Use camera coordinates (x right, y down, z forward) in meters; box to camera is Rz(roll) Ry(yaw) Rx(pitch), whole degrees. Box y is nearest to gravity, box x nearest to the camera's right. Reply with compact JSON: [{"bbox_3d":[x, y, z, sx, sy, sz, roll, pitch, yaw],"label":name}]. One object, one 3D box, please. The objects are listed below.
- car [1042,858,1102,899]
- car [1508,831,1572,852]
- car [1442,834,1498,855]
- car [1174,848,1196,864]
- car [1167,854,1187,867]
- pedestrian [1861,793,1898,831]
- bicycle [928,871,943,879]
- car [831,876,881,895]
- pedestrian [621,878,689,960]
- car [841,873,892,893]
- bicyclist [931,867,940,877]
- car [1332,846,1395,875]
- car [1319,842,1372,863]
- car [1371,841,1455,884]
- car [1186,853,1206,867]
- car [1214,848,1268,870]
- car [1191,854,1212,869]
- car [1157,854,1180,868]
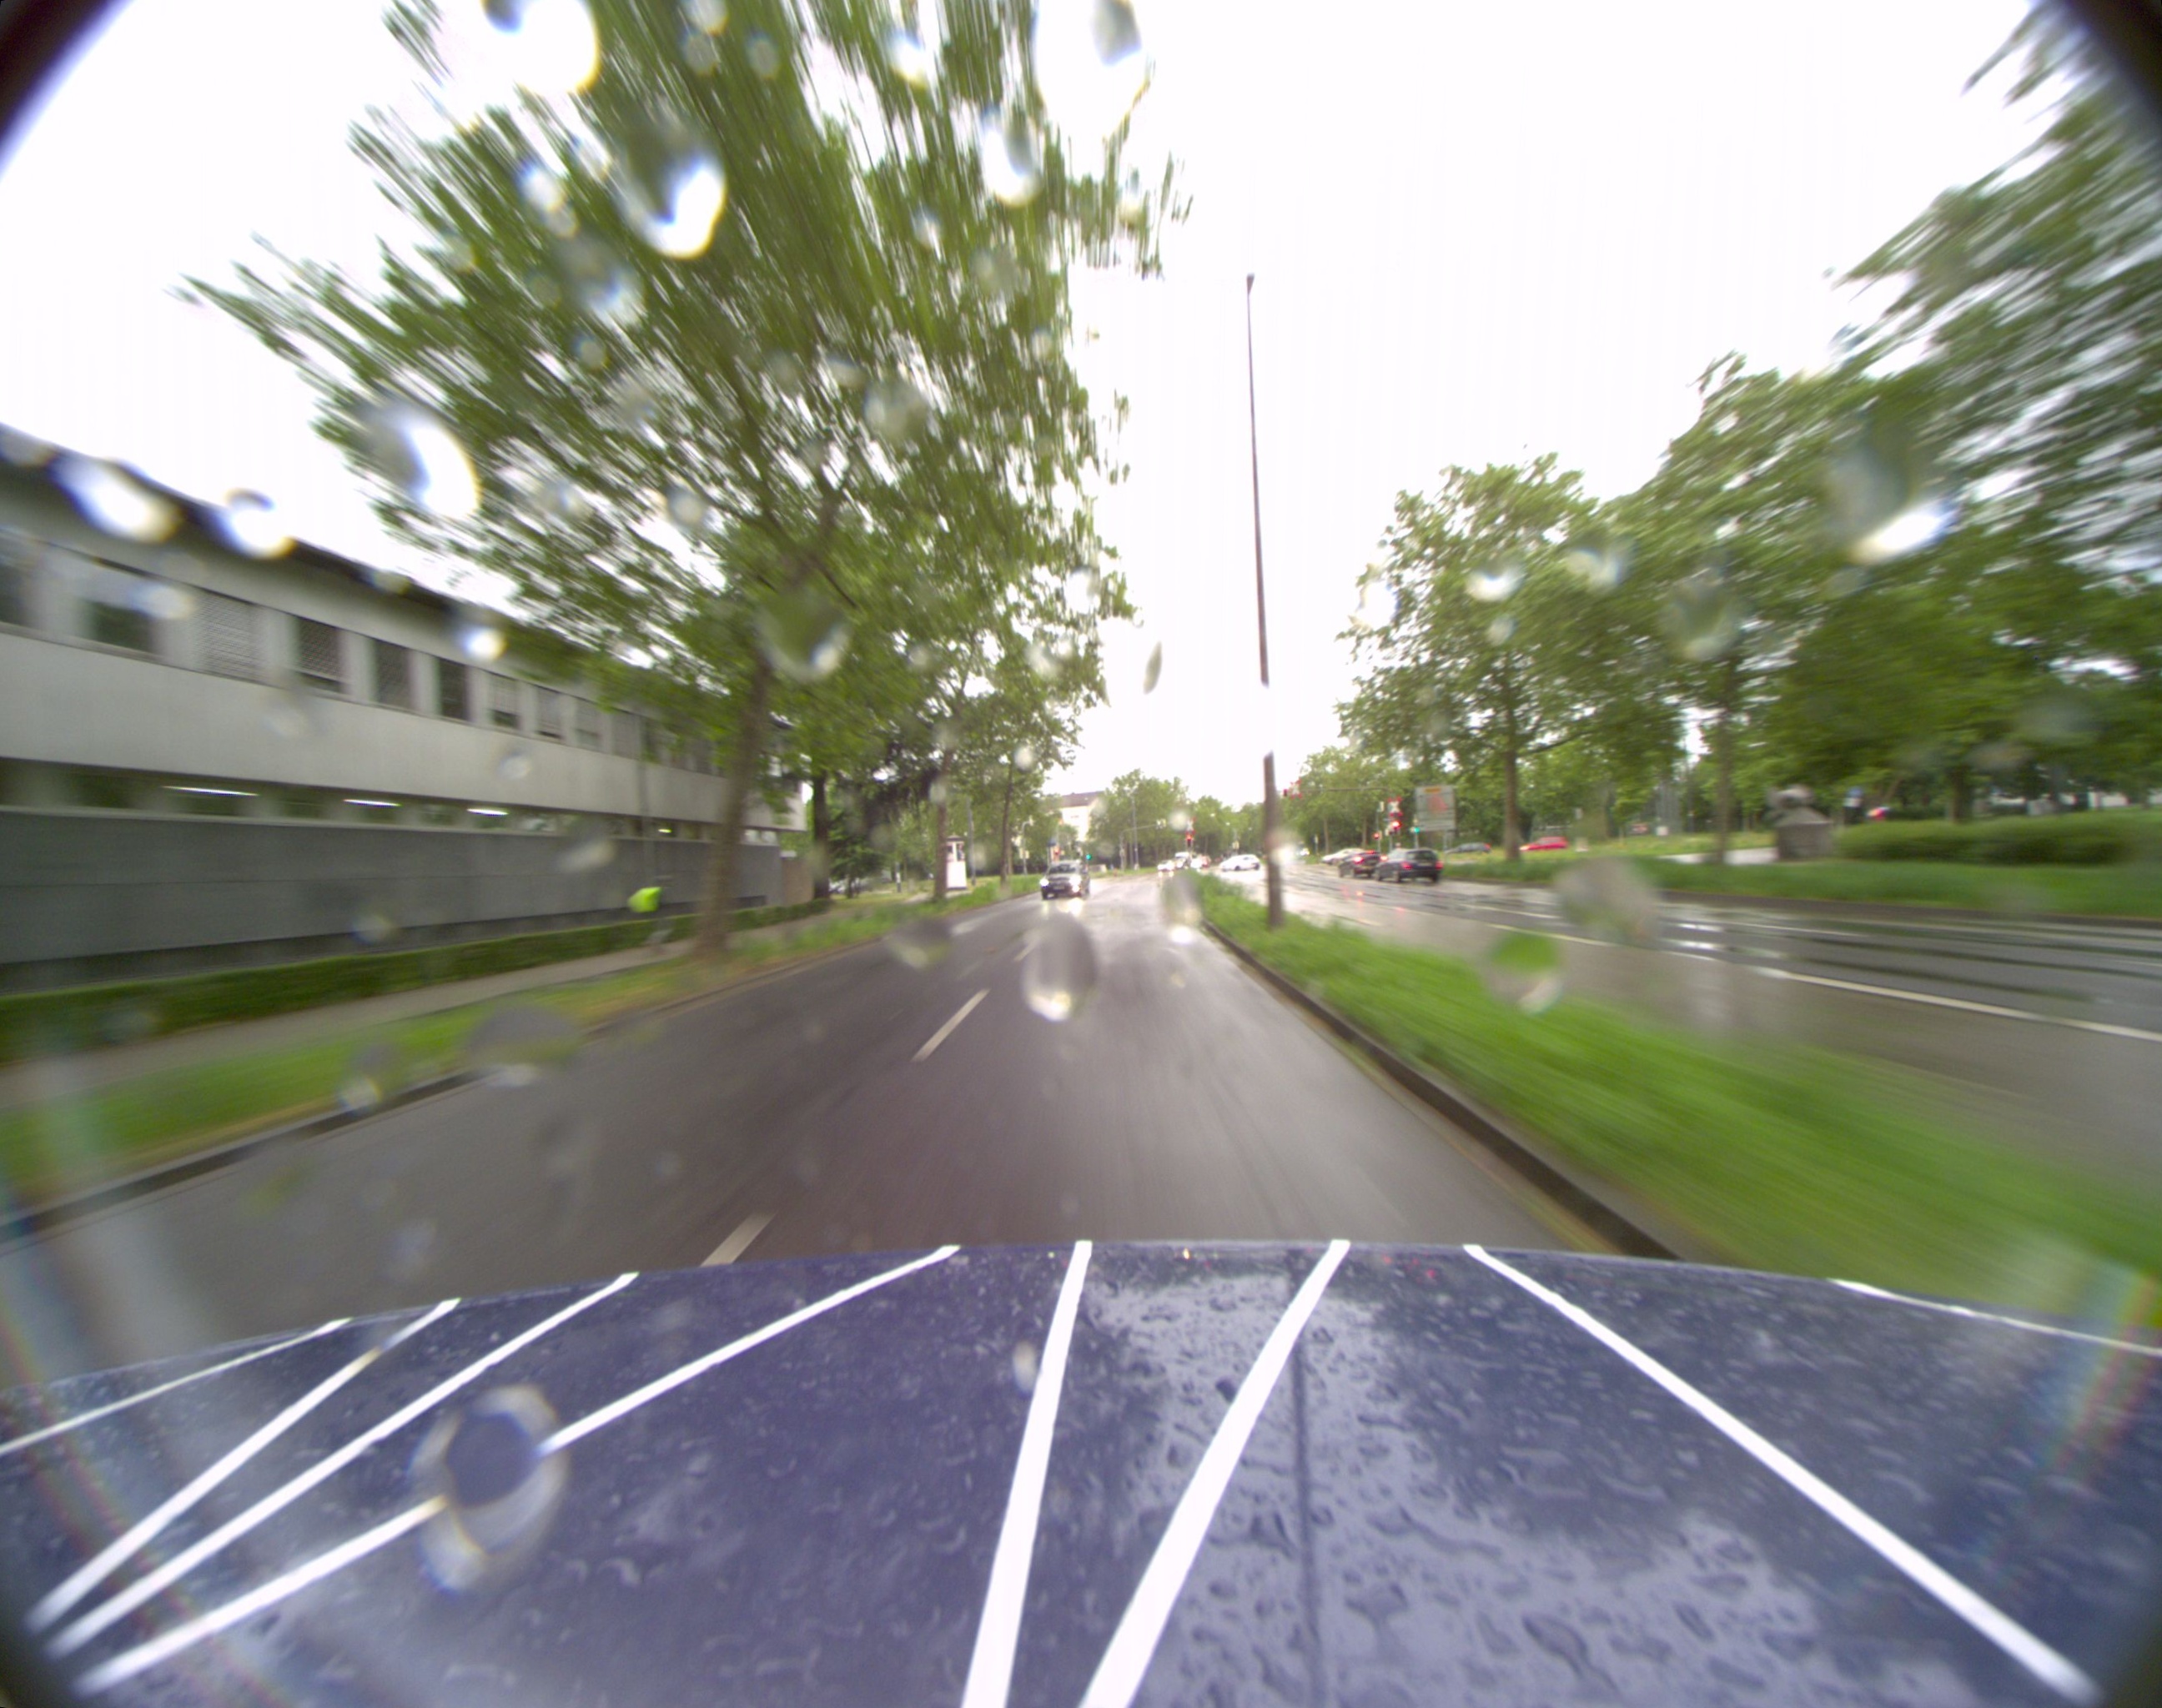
[{"bbox_3d":[-0.330,1.078,35.922,1.997,1.585,5.592,-4,0,7],"label":"car"},{"bbox_3d":[40.589,-1.105,67.298,4.512,1.620,2.003,-4,0,22],"label":"car"},{"bbox_3d":[36.514,-0.888,71.479,4.512,1.620,2.003,-4,0,22],"label":"car"},{"bbox_3d":[15.324,0.215,111.666,1.996,2.095,5.150,-3,0,21],"label":"car"},{"bbox_3d":[13.307,0.860,105.296,1.996,1.620,4.527,-4,0,16],"label":"car"},{"bbox_3d":[43.793,-2.274,41.684,0.898,2.002,1.020,-4,0,10],"label":"pedestrian"},{"bbox_3d":[-18.943,2.738,98.819,1.860,0.880,0.684,-4,0,32],"label":"bicycle"},{"bbox_3d":[-22.922,3.164,77.371,4.527,1.620,1.996,-4,0,-29],"label":"car"},{"bbox_3d":[-9.275,1.399,16.572,0.832,1.685,0.900,-3,0,8],"label":"pedestrian"},{"bbox_3d":[-21.362,2.854,75.783,4.527,1.620,1.996,-4,0,-28],"label":"car"},{"bbox_3d":[-18.939,2.350,98.786,0.742,1.138,0.684,-3,1,32],"label":"bicyclist"},{"bbox_3d":[15.257,0.339,41.301,1.998,1.366,4.333,-4,0,4],"label":"car"},{"bbox_3d":[25.029,-0.136,71.895,4.494,1.620,2.003,-4,0,22],"label":"car"},{"bbox_3d":[14.520,0.339,33.471,1.998,1.622,4.333,-4,0,4],"label":"car"},{"bbox_3d":[14.658,0.763,96.708,1.997,1.620,4.526,-4,0,14],"label":"car"},{"bbox_3d":[14.359,0.463,68.157,4.528,1.620,1.996,-4,0,-29],"label":"car"},{"bbox_3d":[16.405,1.010,103.293,1.996,1.876,4.527,-4,0,18],"label":"car"},{"bbox_3d":[11.224,0.913,97.471,1.996,1.620,4.527,-4,0,17],"label":"car"}]
